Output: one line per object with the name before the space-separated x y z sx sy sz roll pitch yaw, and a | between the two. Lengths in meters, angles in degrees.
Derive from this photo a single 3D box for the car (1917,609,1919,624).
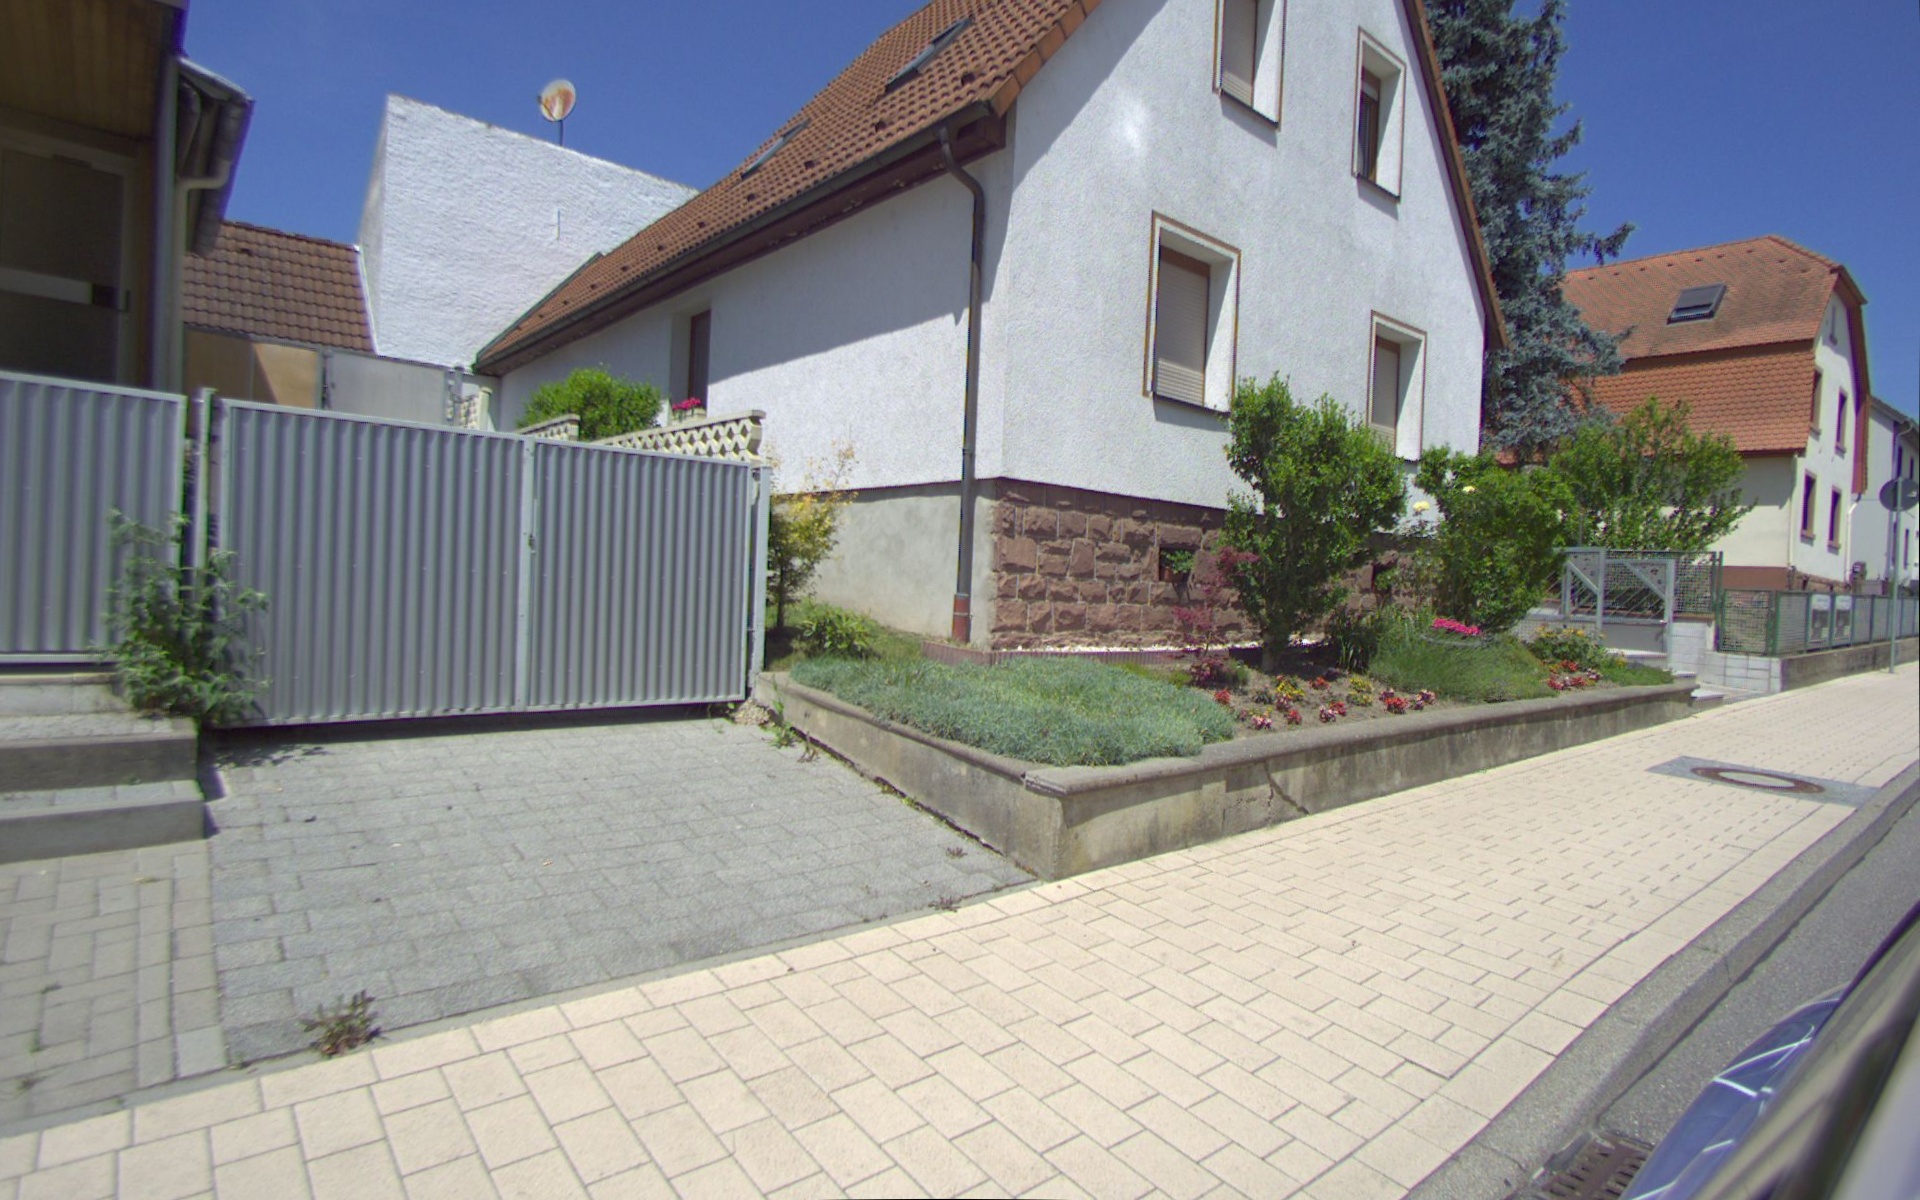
car | 35.655 -0.027 35.766 4.688 1.993 1.859 0 8 -40

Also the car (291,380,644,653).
car | -4.275 -0.545 8.449 1.661 1.727 3.993 0 0 -41
